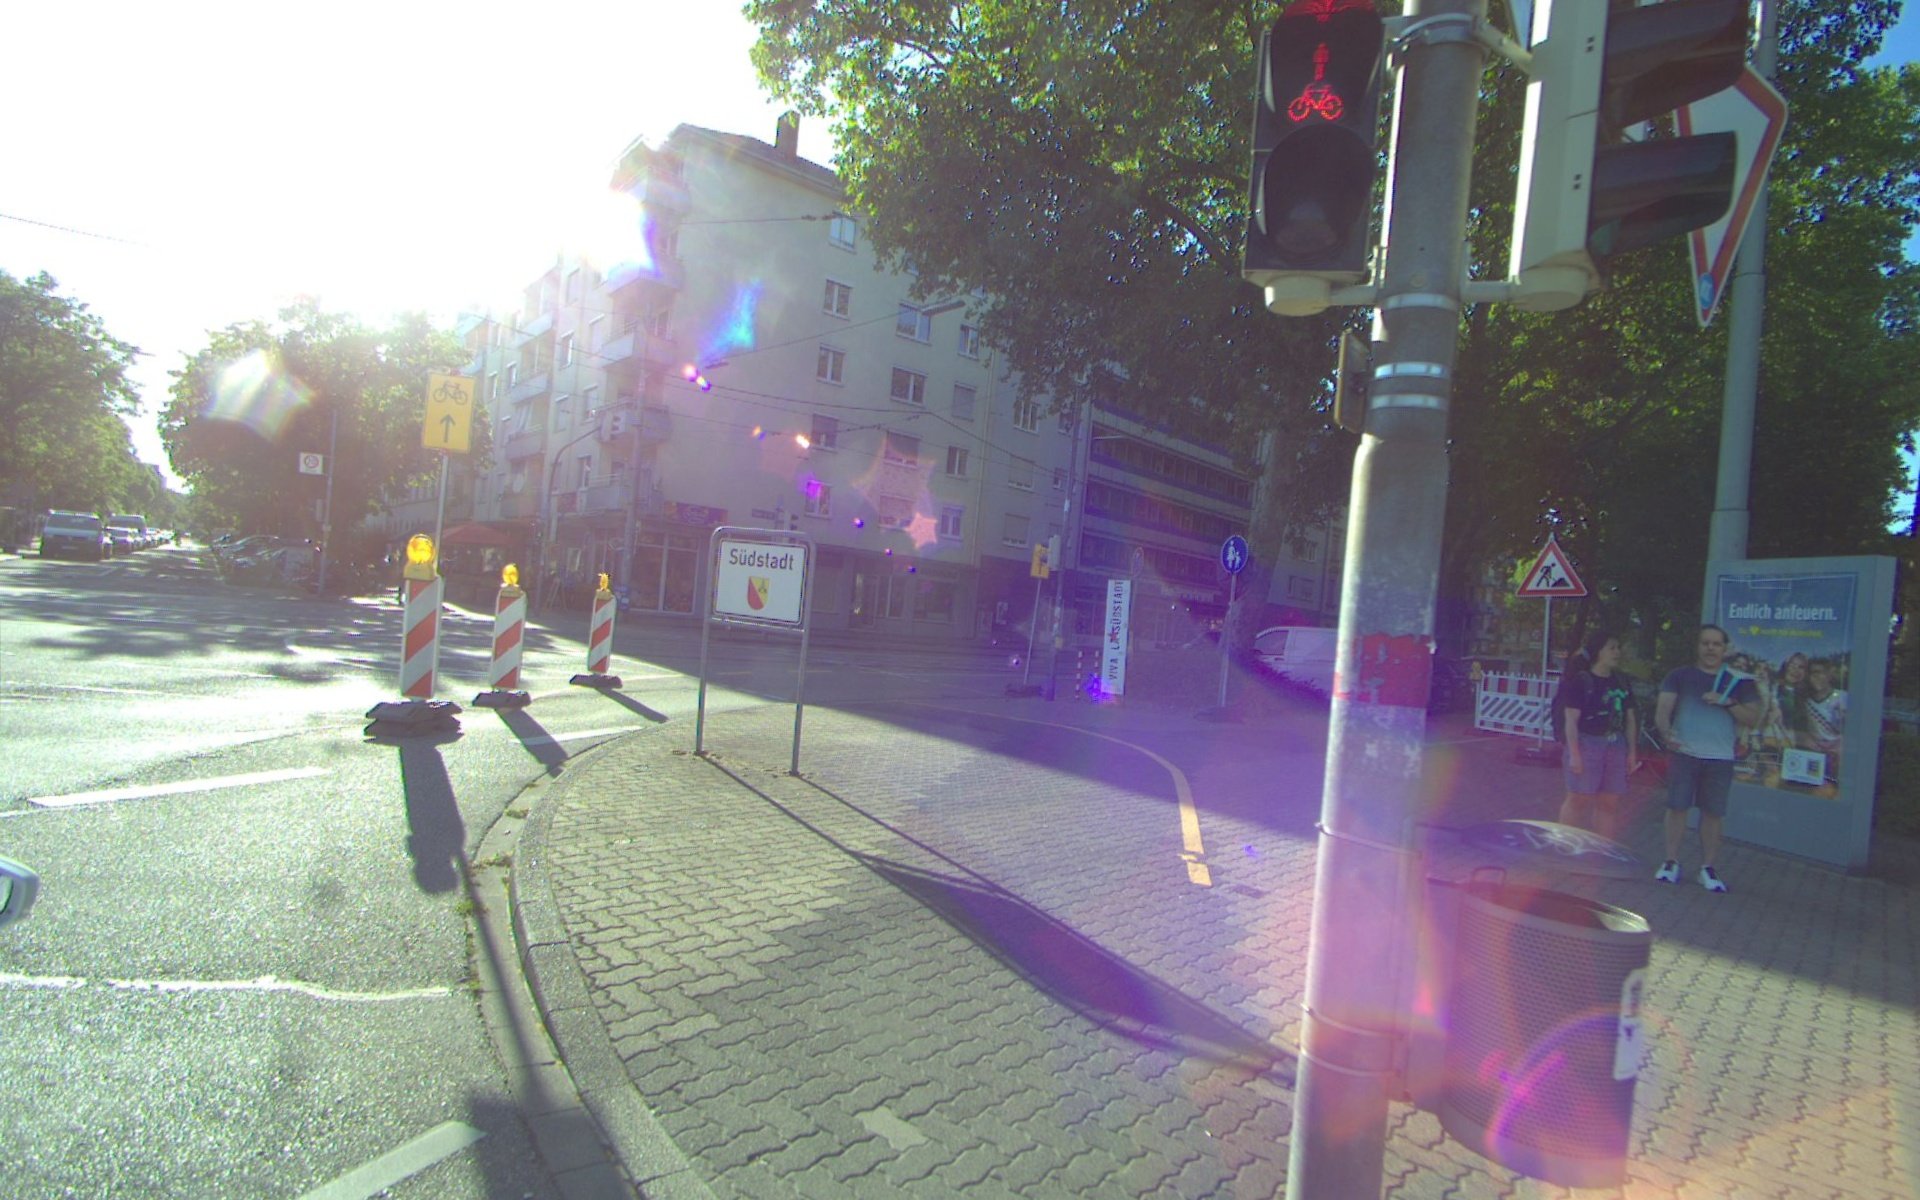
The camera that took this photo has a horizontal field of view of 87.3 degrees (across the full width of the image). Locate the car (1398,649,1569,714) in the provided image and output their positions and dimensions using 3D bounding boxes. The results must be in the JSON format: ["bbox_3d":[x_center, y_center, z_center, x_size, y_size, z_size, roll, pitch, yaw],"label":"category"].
[{"bbox_3d":[17.459,2.692,33.703,4.668,1.622,1.908,4,-1,45],"label":"car"}]

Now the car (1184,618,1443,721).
[{"bbox_3d":[7.965,1.541,23.036,5.171,1.847,1.920,3,-3,43],"label":"car"}]

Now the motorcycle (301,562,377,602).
[{"bbox_3d":[-20.458,-0.595,33.154,1.945,1.123,0.827,6,0,-44],"label":"motorcycle"}]

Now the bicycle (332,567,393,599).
[{"bbox_3d":[-20.702,-0.587,34.860,1.714,0.944,0.556,6,0,-39],"label":"bicycle"}]

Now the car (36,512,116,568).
[{"bbox_3d":[-38.090,-2.592,43.453,2.344,2.038,5.250,6,-1,-41],"label":"car"}]

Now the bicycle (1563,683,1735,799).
[{"bbox_3d":[7.961,1.590,11.747,0.511,1.070,1.933,5,-1,-3],"label":"bicycle"}]

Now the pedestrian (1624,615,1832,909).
[{"bbox_3d":[5.081,1.027,6.719,0.680,1.772,0.795,5,0,11],"label":"pedestrian"}]

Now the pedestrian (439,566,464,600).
[{"bbox_3d":[-21.991,-0.749,43.518,0.805,1.379,0.906,5,0,-33],"label":"pedestrian"}]

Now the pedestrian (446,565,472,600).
[{"bbox_3d":[-21.171,-0.732,42.487,0.805,1.379,0.906,5,0,-33],"label":"pedestrian"}]

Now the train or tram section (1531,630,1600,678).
[{"bbox_3d":[54.851,4.991,90.960,2.831,3.683,13.130,5,-1,41],"label":"train or tram section"}]

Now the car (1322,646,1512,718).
[{"bbox_3d":[13.110,2.322,29.007,4.538,1.525,1.910,5,0,42],"label":"car"}]

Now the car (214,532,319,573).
[{"bbox_3d":[-43.373,-2.951,62.969,5.069,1.946,2.337,6,-3,-41],"label":"car"}]

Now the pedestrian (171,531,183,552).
[{"bbox_3d":[-78.189,-5.825,100.459,0.732,2.039,0.736,5,1,-37],"label":"pedestrian"}]

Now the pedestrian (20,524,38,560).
[{"bbox_3d":[-47.248,-2.962,51.057,0.577,1.752,0.601,5,0,-44],"label":"pedestrian"}]

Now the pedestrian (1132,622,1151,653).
[{"bbox_3d":[10.008,2.073,55.540,0.621,1.669,0.657,5,0,-44],"label":"pedestrian"}]

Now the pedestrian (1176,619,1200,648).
[{"bbox_3d":[13.790,2.023,60.830,1.014,1.683,1.226,5,0,25],"label":"pedestrian"}]

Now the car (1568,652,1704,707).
[{"bbox_3d":[37.792,4.403,56.347,2.048,2.395,5.890,5,0,-45],"label":"car"}]

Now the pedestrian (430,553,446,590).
[{"bbox_3d":[-29.786,-1.640,57.393,0.505,2.039,0.534,6,1,44],"label":"pedestrian"}]

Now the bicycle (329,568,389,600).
[{"bbox_3d":[-21.176,-0.551,35.459,1.714,0.944,0.556,6,0,-39],"label":"bicycle"}]

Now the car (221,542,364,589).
[{"bbox_3d":[-29.968,-1.500,45.258,5.069,1.575,2.337,6,-3,-41],"label":"car"}]

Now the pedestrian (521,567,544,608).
[{"bbox_3d":[-17.669,-0.525,41.607,0.471,1.611,0.617,6,1,35],"label":"pedestrian"}]

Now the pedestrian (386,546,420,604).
[{"bbox_3d":[-18.067,-0.800,32.642,0.682,1.772,0.792,5,0,-17],"label":"pedestrian"}]

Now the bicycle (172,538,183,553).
[{"bbox_3d":[-78.206,-5.465,100.494,0.762,1.340,1.904,5,0,-37],"label":"bicycle"}]

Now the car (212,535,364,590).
[{"bbox_3d":[-31.516,-1.713,47.293,5.597,1.946,2.337,6,-3,-41],"label":"car"}]

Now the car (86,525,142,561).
[{"bbox_3d":[-50.740,-3.416,60.345,2.344,1.817,5.250,6,-1,-41],"label":"car"}]

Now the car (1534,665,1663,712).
[{"bbox_3d":[29.169,4.006,46.034,4.663,1.553,1.910,5,0,42],"label":"car"}]

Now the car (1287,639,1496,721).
[{"bbox_3d":[11.425,2.086,26.860,4.668,1.622,1.908,4,-1,45],"label":"car"}]

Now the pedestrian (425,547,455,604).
[{"bbox_3d":[-17.142,-0.811,33.159,0.686,1.772,0.833,5,0,-33],"label":"pedestrian"}]

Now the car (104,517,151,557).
[{"bbox_3d":[-60.265,-4.553,72.792,2.344,2.546,5.250,5,-1,-41],"label":"car"}]

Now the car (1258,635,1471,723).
[{"bbox_3d":[9.890,1.905,24.828,1.930,1.622,4.366,5,0,-45],"label":"car"}]

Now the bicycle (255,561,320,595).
[{"bbox_3d":[-22.676,-0.745,33.923,1.714,0.944,0.665,6,0,-39],"label":"bicycle"}]

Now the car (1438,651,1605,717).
[{"bbox_3d":[19.509,2.899,35.082,4.667,1.743,1.908,4,-1,44],"label":"car"}]

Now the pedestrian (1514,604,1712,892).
[{"bbox_3d":[4.374,0.947,6.804,0.680,1.772,0.795,5,0,4],"label":"pedestrian"}]

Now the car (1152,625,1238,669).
[{"bbox_3d":[11.821,2.385,50.421,4.328,1.829,1.894,6,0,-41],"label":"car"}]

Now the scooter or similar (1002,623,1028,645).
[{"bbox_3d":[2.641,1.652,48.466,0.461,0.966,1.426,5,0,37],"label":"scooter or similar"}]
